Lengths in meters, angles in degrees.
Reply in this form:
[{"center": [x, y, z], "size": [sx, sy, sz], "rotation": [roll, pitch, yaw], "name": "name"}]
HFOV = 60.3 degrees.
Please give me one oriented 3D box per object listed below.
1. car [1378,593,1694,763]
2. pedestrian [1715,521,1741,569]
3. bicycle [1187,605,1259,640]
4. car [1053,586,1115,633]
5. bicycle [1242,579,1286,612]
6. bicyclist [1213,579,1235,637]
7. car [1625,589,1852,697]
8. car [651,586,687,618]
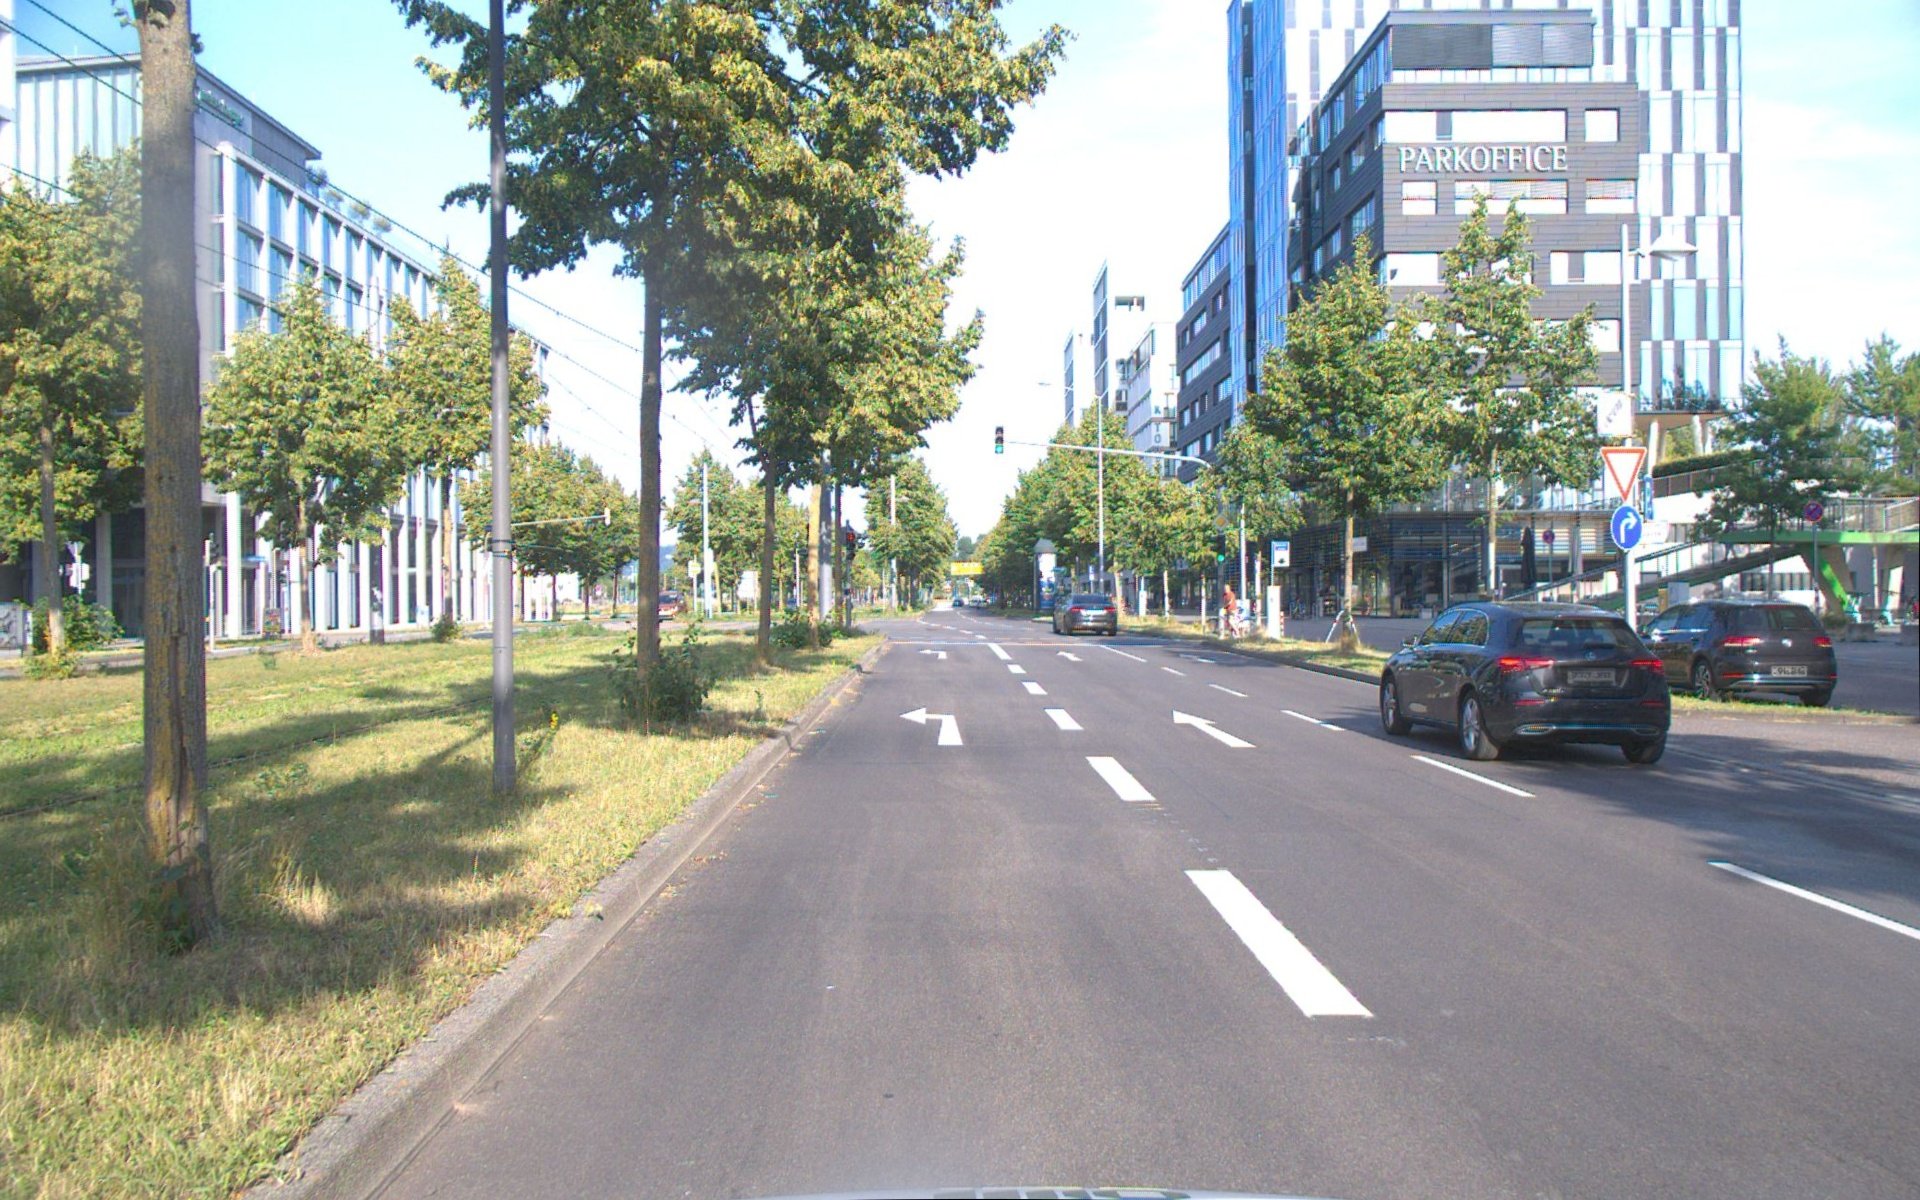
[{"center": [5.530, 0.692, 16.418], "size": [1.738, 1.449, 3.960], "rotation": [1, 0, 0], "name": "car"}, {"center": [28.066, -1.994, 60.458], "size": [0.678, 1.721, 0.788], "rotation": [1, -1, 12], "name": "pedestrian"}, {"center": [8.024, 0.690, 50.510], "size": [2.092, 1.030, 0.571], "rotation": [1, -1, -5], "name": "bicycle"}, {"center": [4.283, 0.338, 57.509], "size": [1.822, 1.551, 3.785], "rotation": [1, 0, 0], "name": "car"}, {"center": [18.007, -0.246, 98.038], "size": [2.510, 1.890, 0.570], "rotation": [1, -1, 9], "name": "bicycle"}, {"center": [8.064, 0.244, 50.532], "size": [0.563, 1.737, 0.540], "rotation": [1, -1, -3], "name": "bicyclist"}, {"center": [11.121, 0.579, 23.949], "size": [1.573, 1.394, 4.159], "rotation": [1, 0, 4], "name": "car"}, {"center": [-17.244, 0.122, 98.093], "size": [1.651, 1.806, 3.879], "rotation": [1, 0, -4], "name": "car"}]
